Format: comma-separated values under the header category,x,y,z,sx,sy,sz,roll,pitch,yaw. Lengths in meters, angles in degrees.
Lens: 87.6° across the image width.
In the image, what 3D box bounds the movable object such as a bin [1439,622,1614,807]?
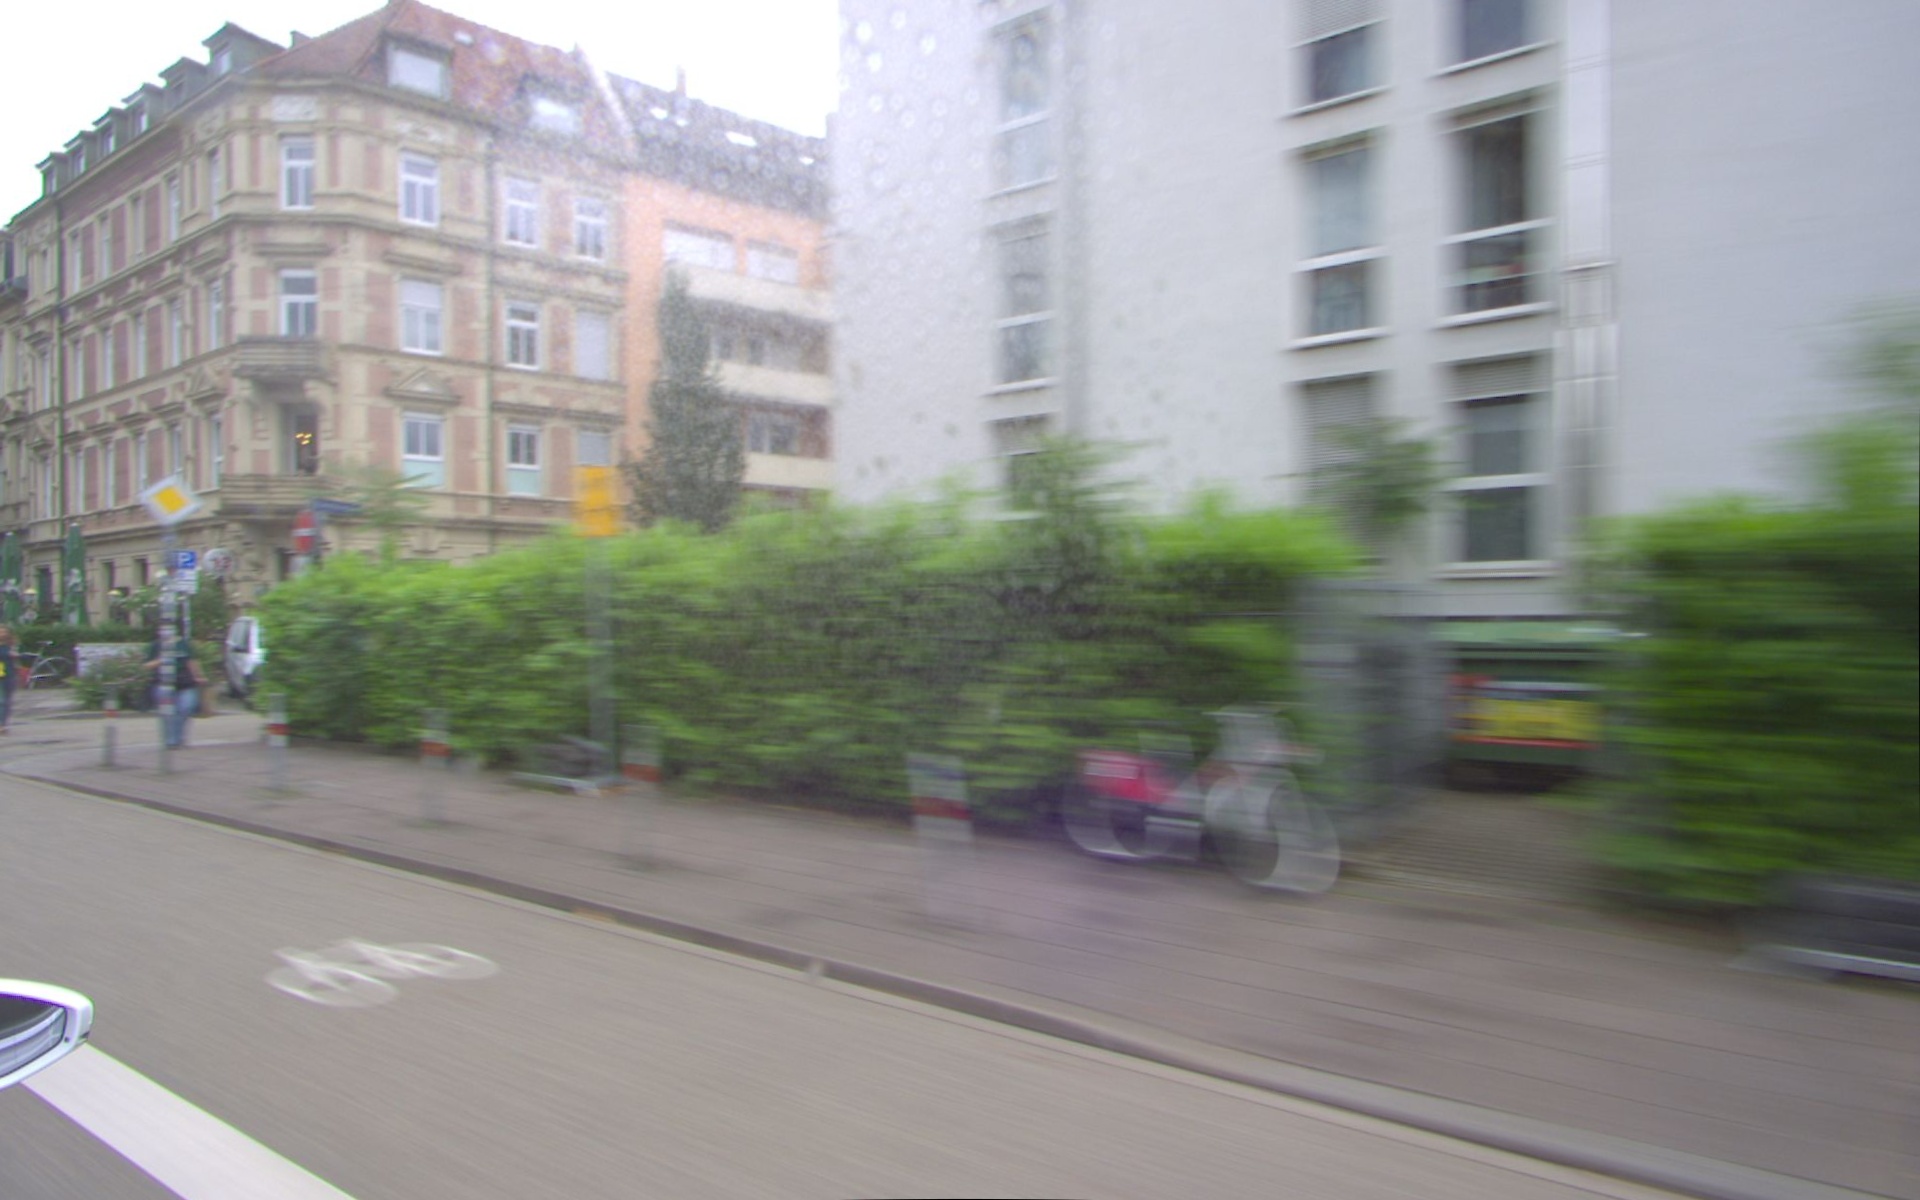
category,x,y,z,sx,sy,sz,roll,pitch,yaw
movable object such as a bin,4.898,0.922,8.650,1.242,1.460,0.973,-1,-1,34

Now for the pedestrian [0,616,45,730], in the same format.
category,x,y,z,sx,sy,sz,roll,pitch,yaw
pedestrian,-14.471,1.089,15.173,0.899,1.677,0.867,0,-1,45

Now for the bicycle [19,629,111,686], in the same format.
category,x,y,z,sx,sy,sz,roll,pitch,yaw
bicycle,-21.102,1.334,23.629,0.507,1.294,1.595,-1,-1,43

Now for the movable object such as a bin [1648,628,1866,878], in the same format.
category,x,y,z,sx,sy,sz,roll,pitch,yaw
movable object such as a bin,5.125,0.901,6.549,1.005,1.436,1.223,-1,-1,34

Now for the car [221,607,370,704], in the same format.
category,x,y,z,sx,sy,sz,roll,pitch,yaw
car,-14.782,1.146,22.146,2.037,1.902,4.983,1,-1,-42

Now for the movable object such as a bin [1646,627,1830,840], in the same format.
category,x,y,z,sx,sy,sz,roll,pitch,yaw
movable object such as a bin,5.810,0.927,7.572,1.005,1.436,1.223,-1,-1,34

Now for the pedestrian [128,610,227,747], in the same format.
category,x,y,z,sx,sy,sz,roll,pitch,yaw
pedestrian,-9.995,0.974,12.797,0.825,1.658,0.790,-1,1,38

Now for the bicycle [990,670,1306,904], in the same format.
category,x,y,z,sx,sy,sz,roll,pitch,yaw
bicycle,1.117,1.055,6.103,1.786,1.143,0.631,0,2,32
